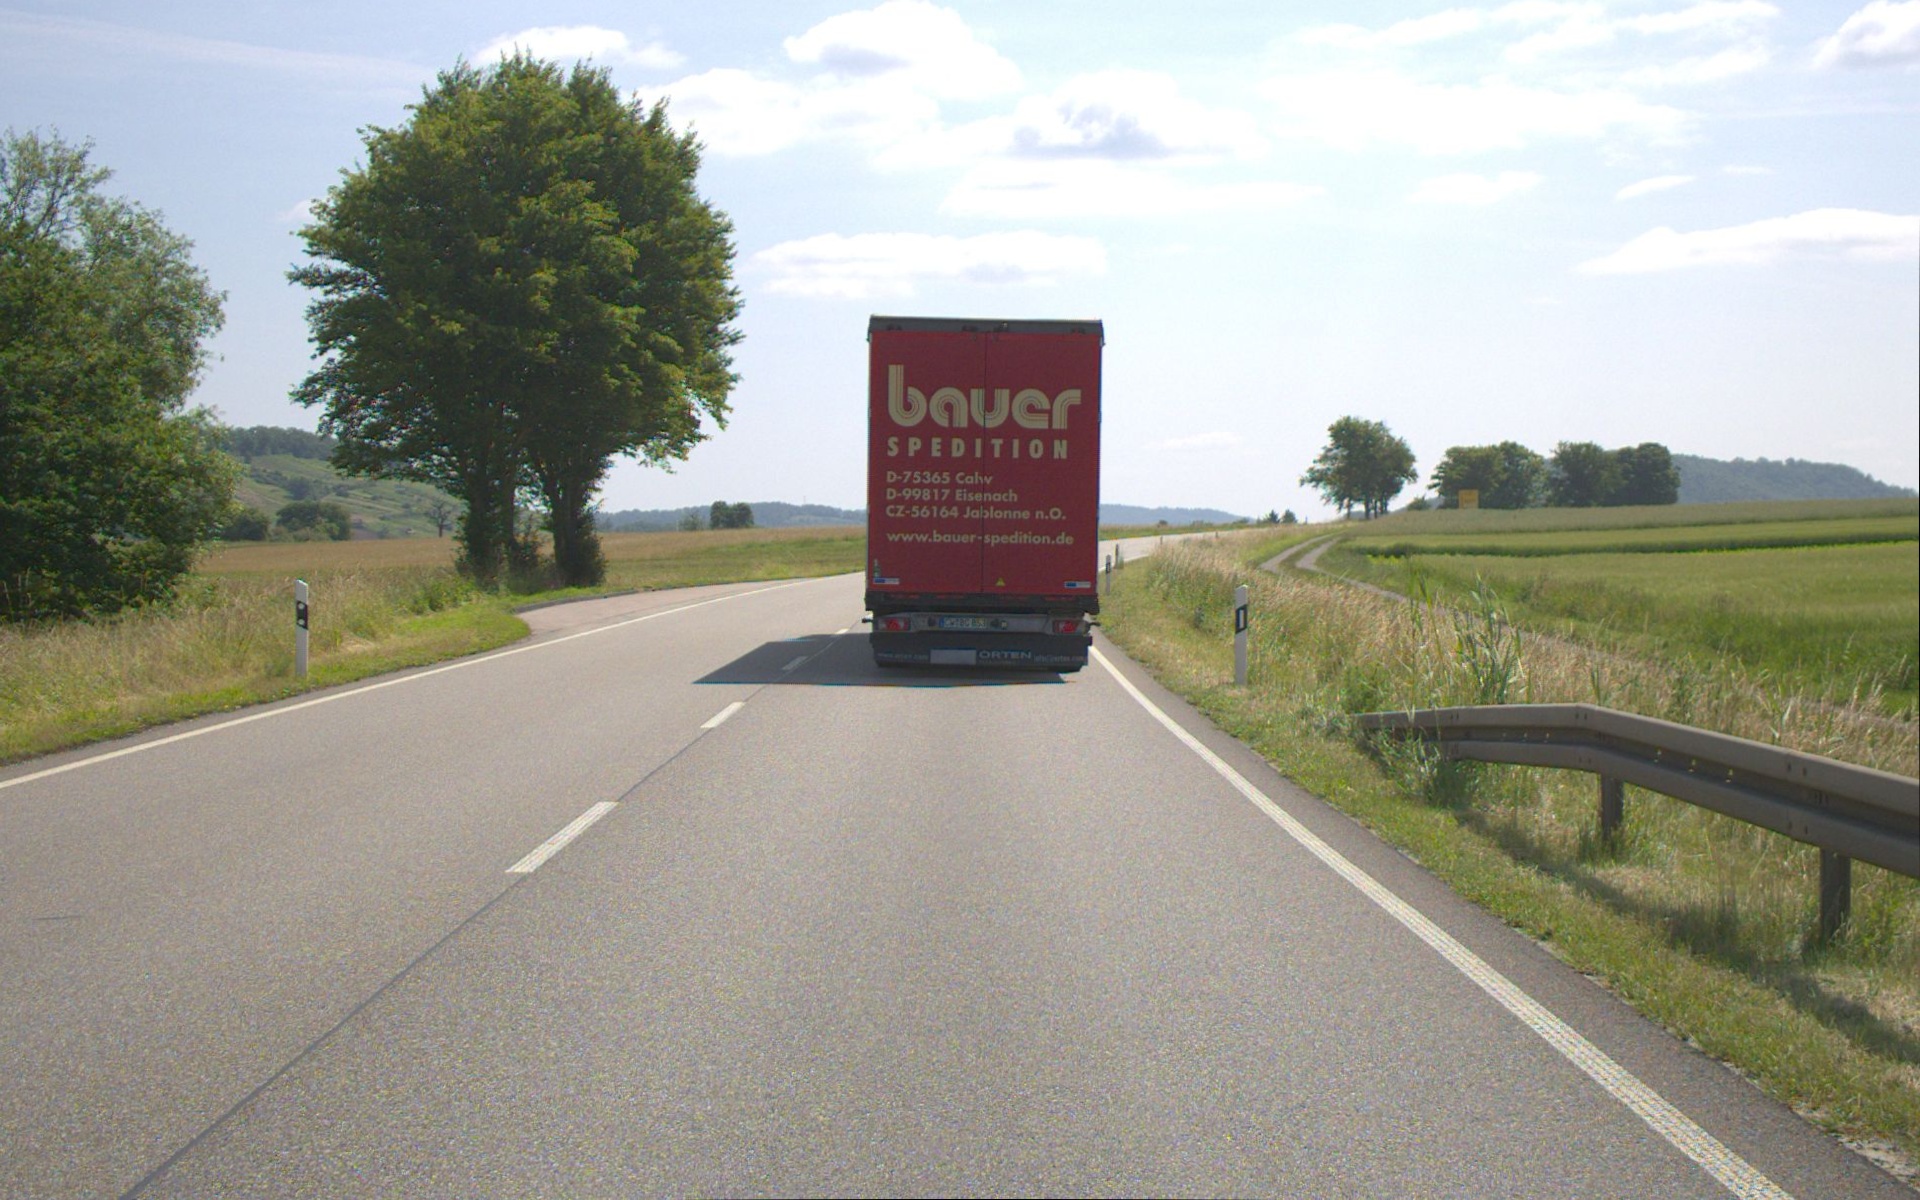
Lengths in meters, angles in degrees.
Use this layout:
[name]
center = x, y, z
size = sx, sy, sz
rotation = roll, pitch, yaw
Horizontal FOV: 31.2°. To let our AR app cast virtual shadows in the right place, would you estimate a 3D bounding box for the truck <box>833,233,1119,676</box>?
[truck]
center = 0.048, -1.597, 41.616
size = 2.975, 4.697, 9.366
rotation = 1, 0, -1
